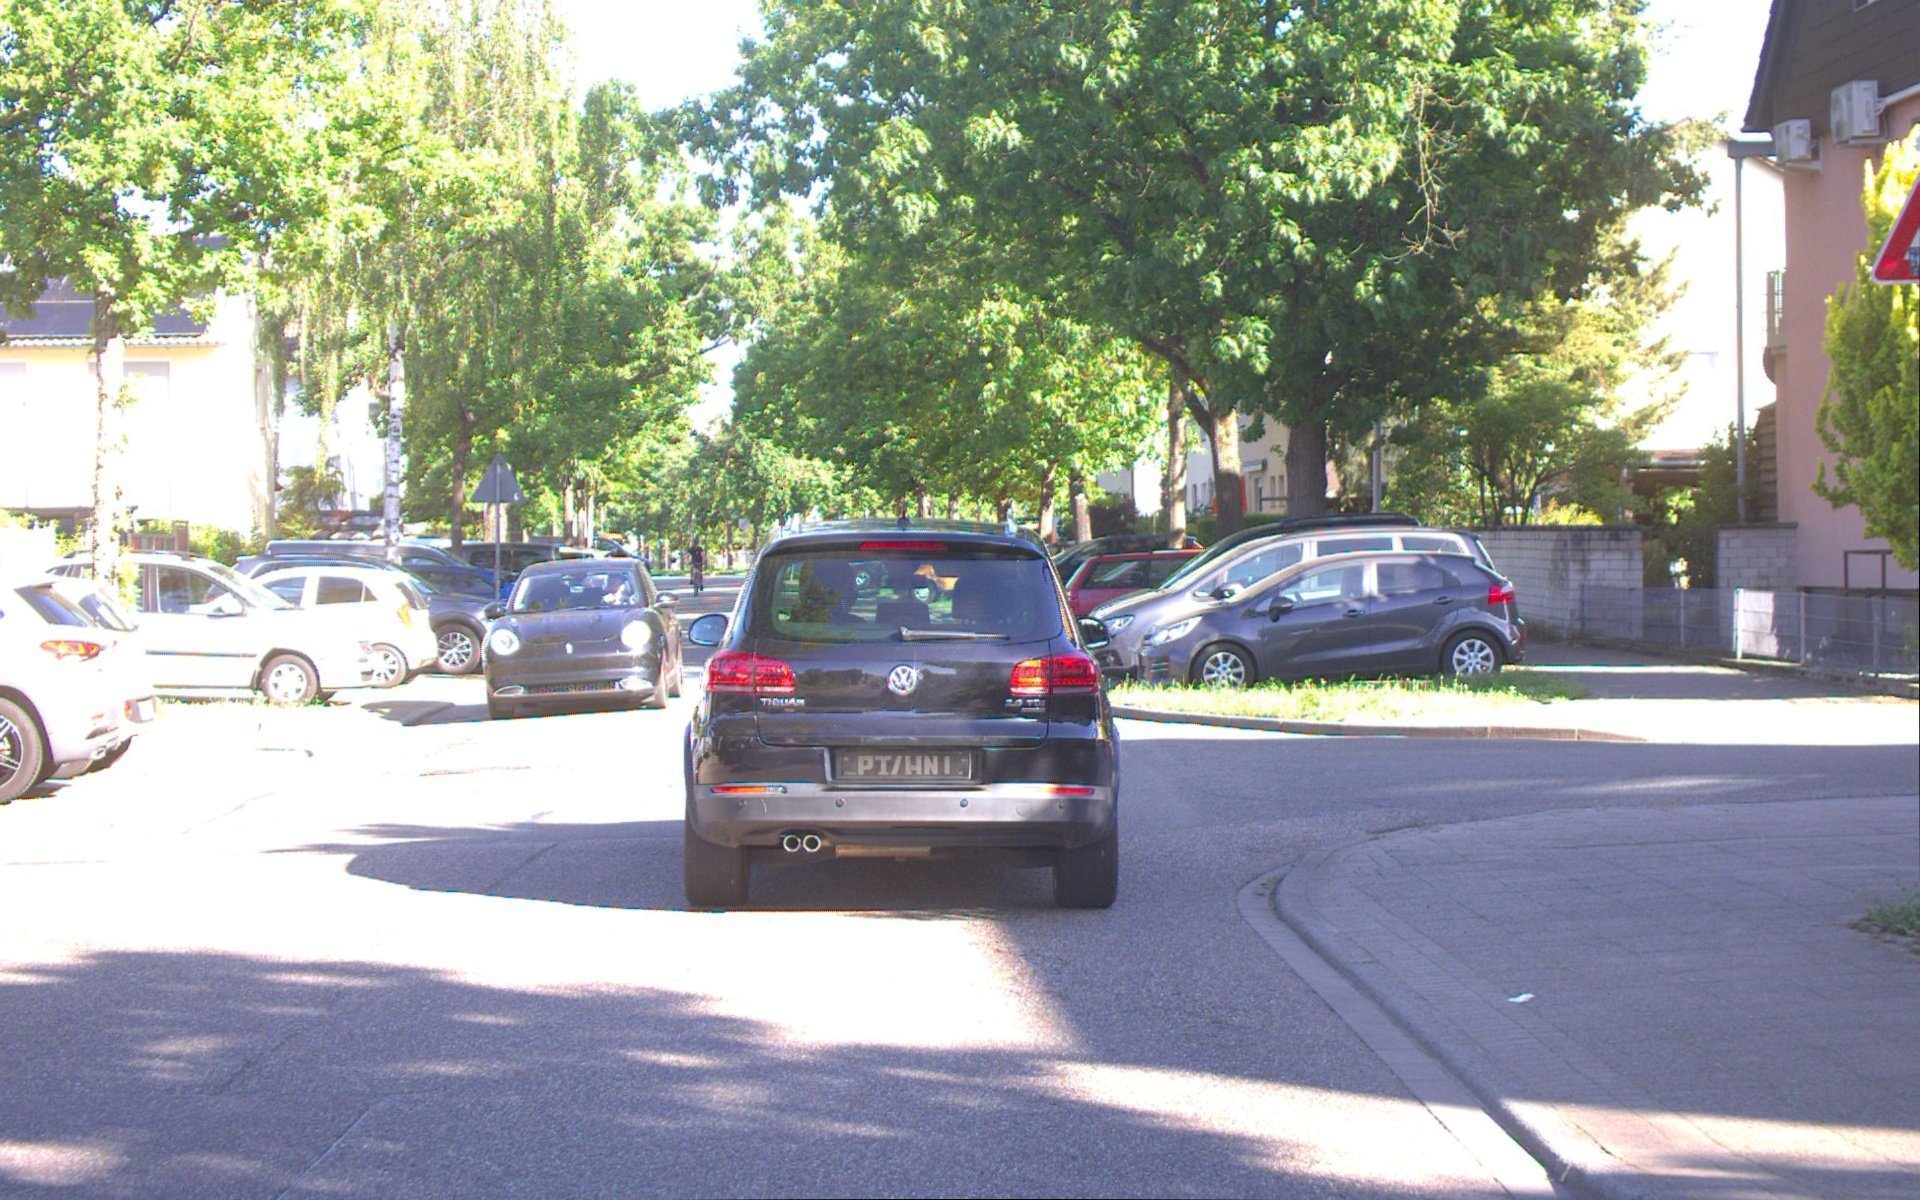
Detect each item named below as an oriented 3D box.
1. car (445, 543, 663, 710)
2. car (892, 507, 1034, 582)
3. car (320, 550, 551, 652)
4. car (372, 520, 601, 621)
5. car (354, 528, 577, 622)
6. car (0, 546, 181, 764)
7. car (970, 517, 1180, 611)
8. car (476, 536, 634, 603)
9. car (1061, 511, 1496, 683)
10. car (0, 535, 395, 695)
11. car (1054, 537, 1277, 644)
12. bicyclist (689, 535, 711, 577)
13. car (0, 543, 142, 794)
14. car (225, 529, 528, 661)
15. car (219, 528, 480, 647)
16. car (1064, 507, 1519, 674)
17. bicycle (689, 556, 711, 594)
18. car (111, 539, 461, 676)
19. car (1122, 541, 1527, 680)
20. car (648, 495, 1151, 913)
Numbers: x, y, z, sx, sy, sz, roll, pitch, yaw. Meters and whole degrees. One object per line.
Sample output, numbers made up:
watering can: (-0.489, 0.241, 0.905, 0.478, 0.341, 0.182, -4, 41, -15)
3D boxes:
car: (-4.112, 0.225, 35.395, 1.909, 1.550, 4.001, -2, 1, -3)
car: (0.071, -1.584, 98.329, 3.987, 2.007, 2.000, -1, -1, -1)
car: (-7.952, 0.000, 52.354, 3.370, 1.485, 1.644, -1, 1, -6)
car: (-9.234, -0.570, 67.295, 4.389, 1.932, 1.579, 0, 0, -6)
car: (-9.290, -0.462, 64.821, 3.986, 1.714, 1.821, 0, 0, -2)
car: (-7.698, 0.404, 25.470, 3.548, 1.552, 1.853, -1, 1, -6)
car: (2.213, -0.706, 66.917, 3.987, 1.769, 1.790, -1, 1, -1)
car: (-10.649, -0.808, 90.252, 3.986, 1.678, 1.924, -1, 1, -9)
car: (3.510, -0.051, 38.486, 4.632, 1.803, 1.824, -1, 1, -2)
car: (-8.341, 0.140, 37.645, 3.987, 1.664, 2.000, -1, 1, -1)
car: (2.994, -0.151, 50.254, 3.043, 1.502, 1.247, -1, 1, -8)
bicyclist: (-8.327, -1.404, 110.096, 0.700, 1.341, 0.506, -1, -1, -6)
car: (-7.359, 0.443, 22.863, 3.548, 1.608, 1.853, -1, 1, -8)
car: (-8.048, -0.089, 47.756, 3.986, 1.725, 2.000, -1, 1, -5)
car: (-9.756, -0.215, 55.170, 3.986, 1.830, 1.638, -1, 1, -6)
car: (3.945, -0.127, 41.537, 5.259, 1.939, 2.000, 0, 1, -2)
bicycle: (-8.323, -0.786, 110.064, 0.637, 1.159, 1.741, -1, -1, -6)
car: (-8.375, 0.070, 42.986, 3.987, 1.634, 2.000, 0, 1, 0)
car: (3.767, 0.095, 35.996, 3.986, 1.364, 1.847, -1, 1, -2)
car: (-0.439, 0.376, 15.972, 1.929, 1.649, 4.515, 1, 1, -6)
